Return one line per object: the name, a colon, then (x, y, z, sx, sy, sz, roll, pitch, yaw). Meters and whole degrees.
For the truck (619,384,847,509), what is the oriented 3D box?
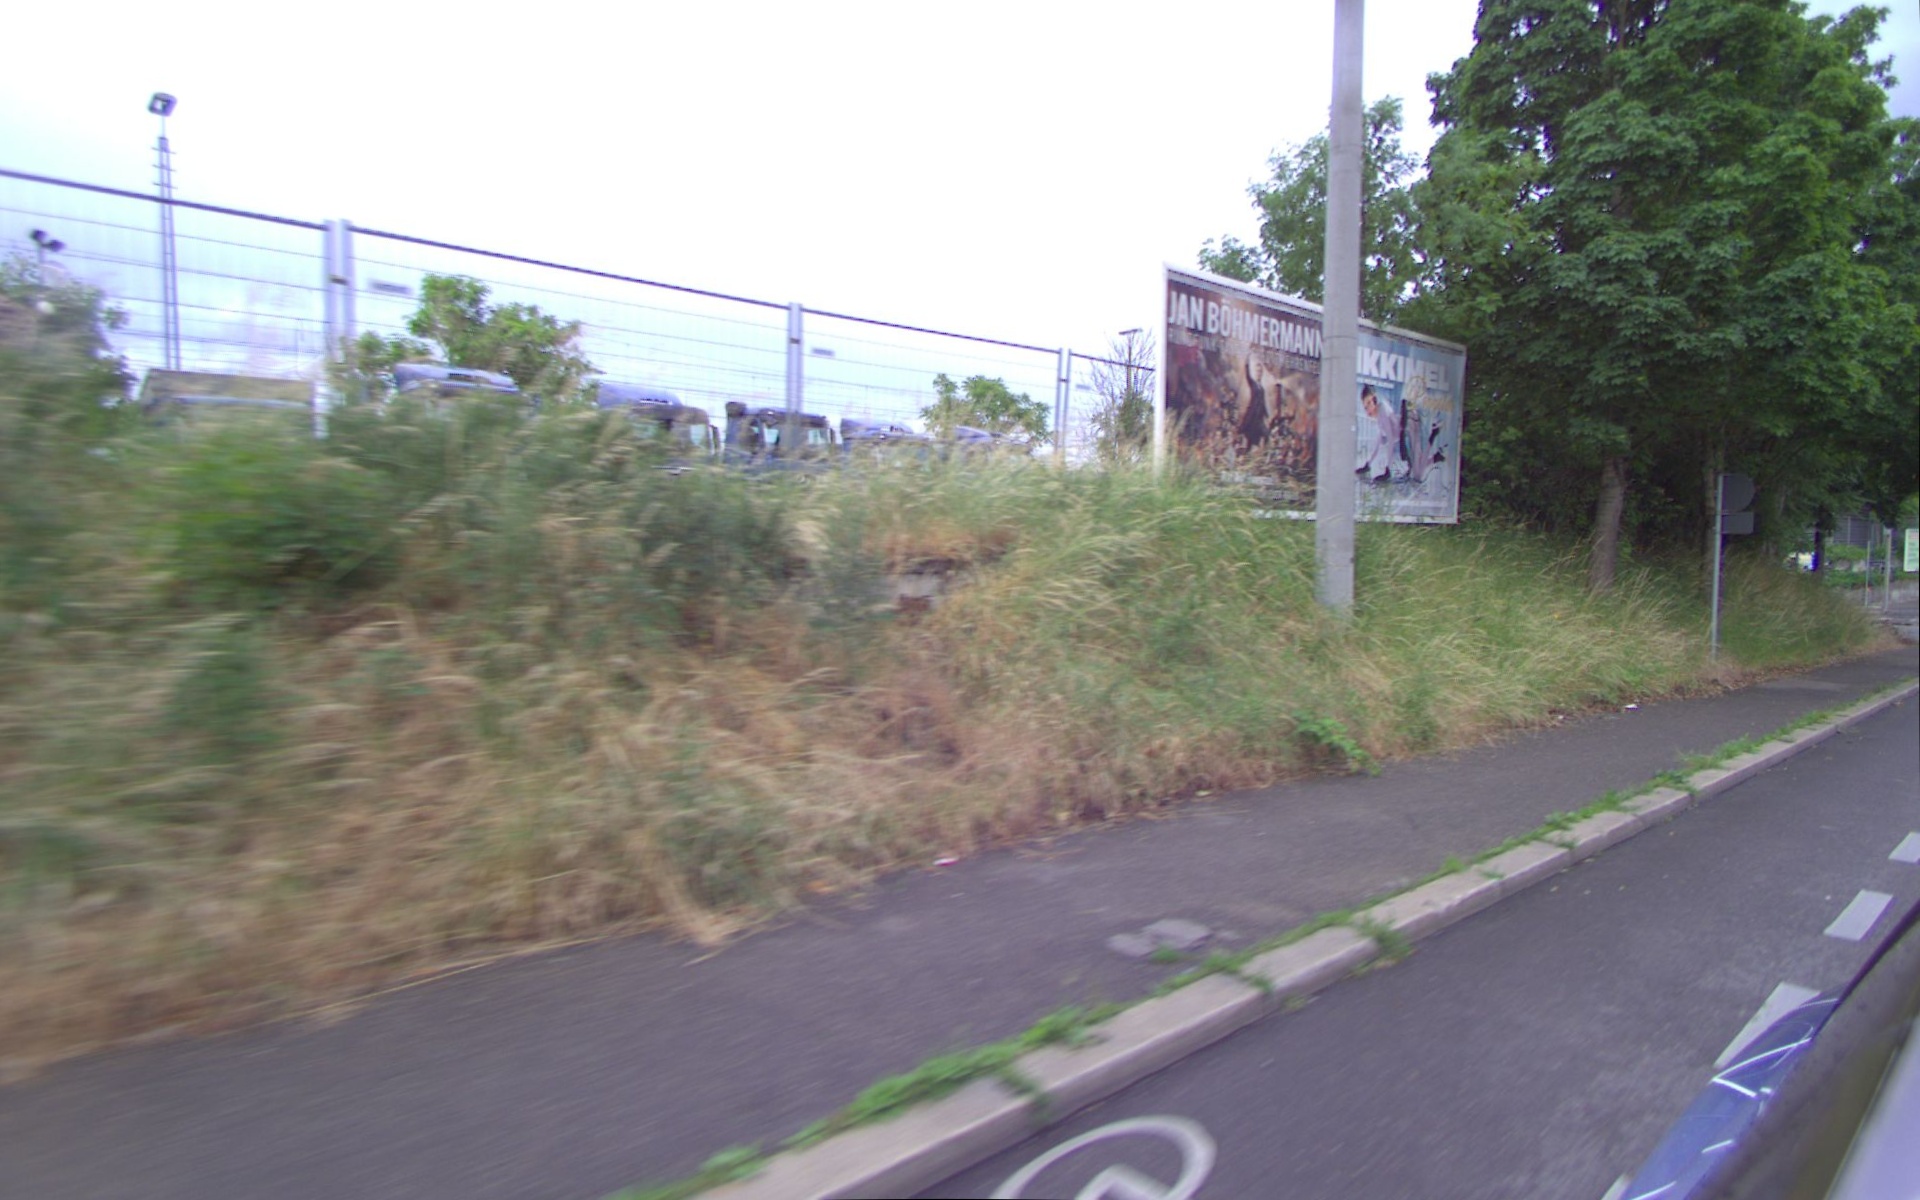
truck: (-6.549, -4.033, 28.185, 2.544, 2.771, 8.016, -3, 4, -42)

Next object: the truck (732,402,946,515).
truck: (-3.937, -4.170, 31.314, 2.544, 2.890, 7.721, -3, 4, -42)

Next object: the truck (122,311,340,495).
truck: (-14.924, -3.620, 20.428, 2.588, 2.649, 8.012, -3, 4, -42)

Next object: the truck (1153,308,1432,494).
truck: (6.650, -3.636, 19.806, 5.949, 2.684, 2.287, -3, -2, -41)

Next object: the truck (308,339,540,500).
truck: (-12.265, -3.733, 22.707, 2.544, 2.648, 8.309, -3, 4, -42)

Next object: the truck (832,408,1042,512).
truck: (-0.978, -4.476, 33.762, 2.544, 2.849, 7.748, -3, 4, -42)

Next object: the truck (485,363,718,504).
truck: (-9.255, -3.917, 25.445, 2.544, 2.686, 8.102, -3, 4, -42)
